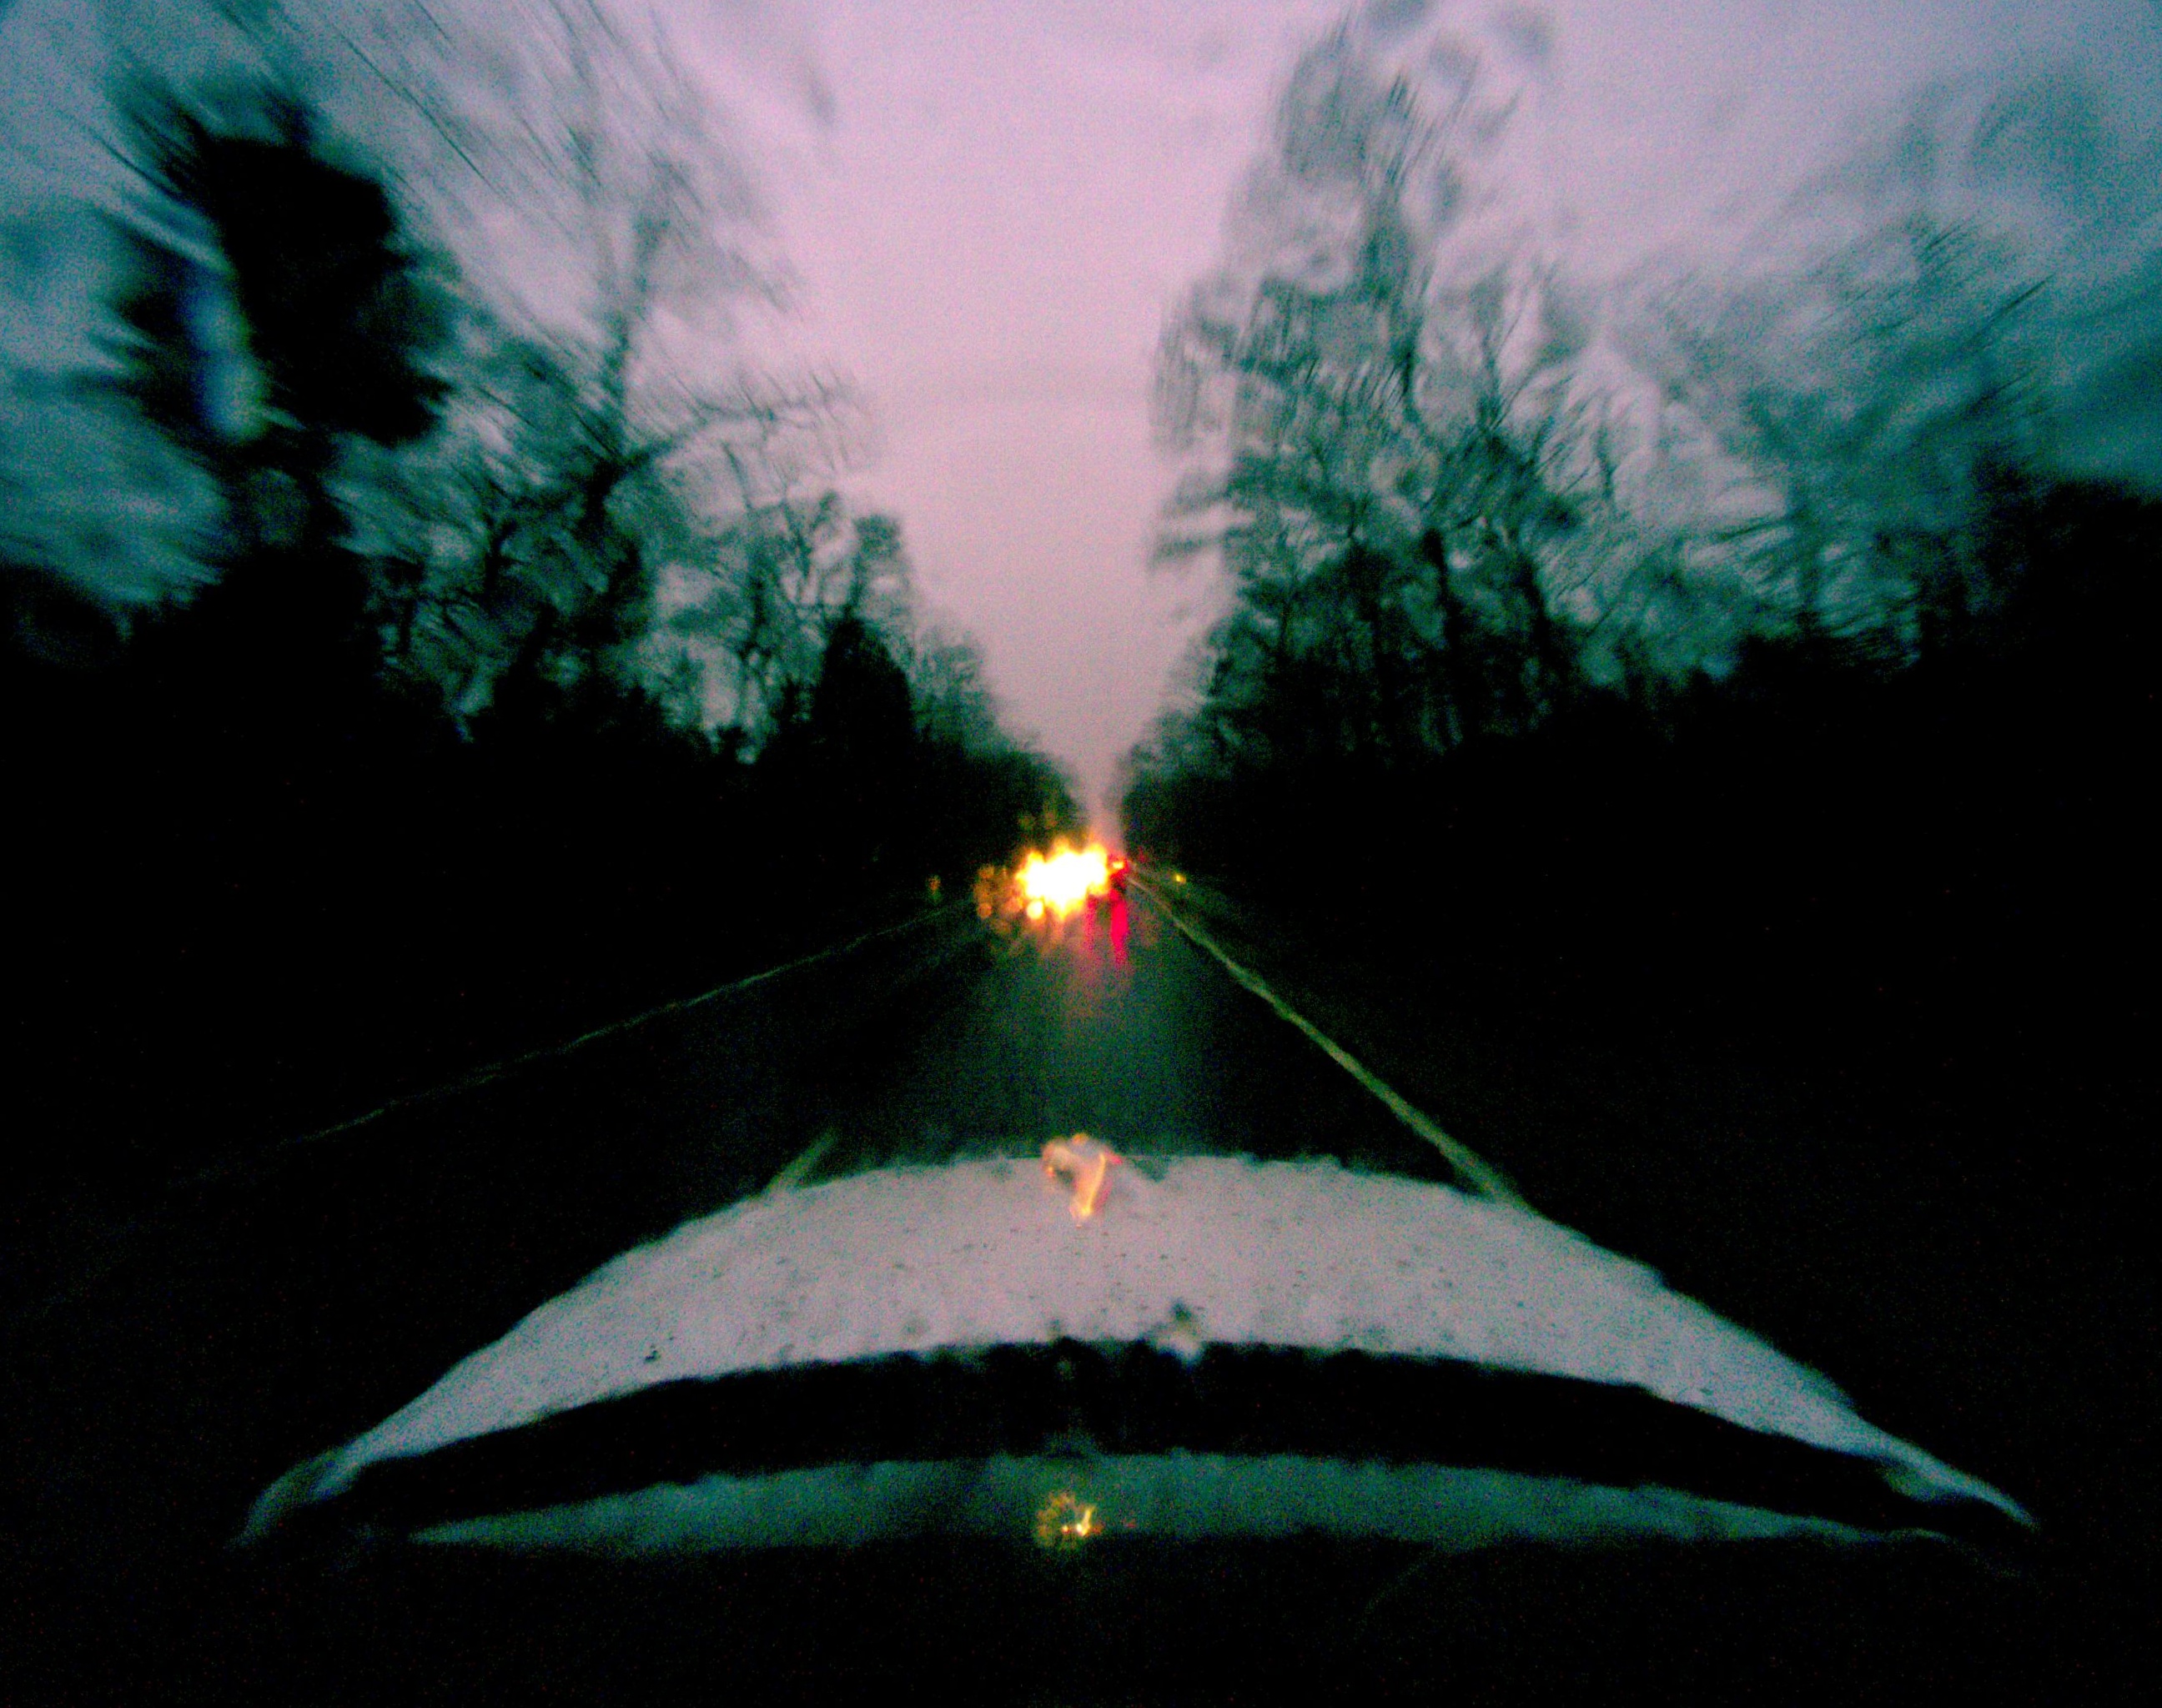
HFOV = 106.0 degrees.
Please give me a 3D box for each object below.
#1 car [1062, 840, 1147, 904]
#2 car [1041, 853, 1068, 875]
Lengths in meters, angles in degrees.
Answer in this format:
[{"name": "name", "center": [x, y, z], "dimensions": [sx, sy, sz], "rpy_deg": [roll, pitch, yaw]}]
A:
[{"name": "car", "center": [1.030, 0.685, 33.875], "dimensions": [3.171, 2.386, 6.640], "rpy_deg": [0, 0, 2]}, {"name": "car", "center": [-2.062, 0.779, 63.270], "dimensions": [1.793, 1.600, 3.863], "rpy_deg": [-3, 0, 1]}]
